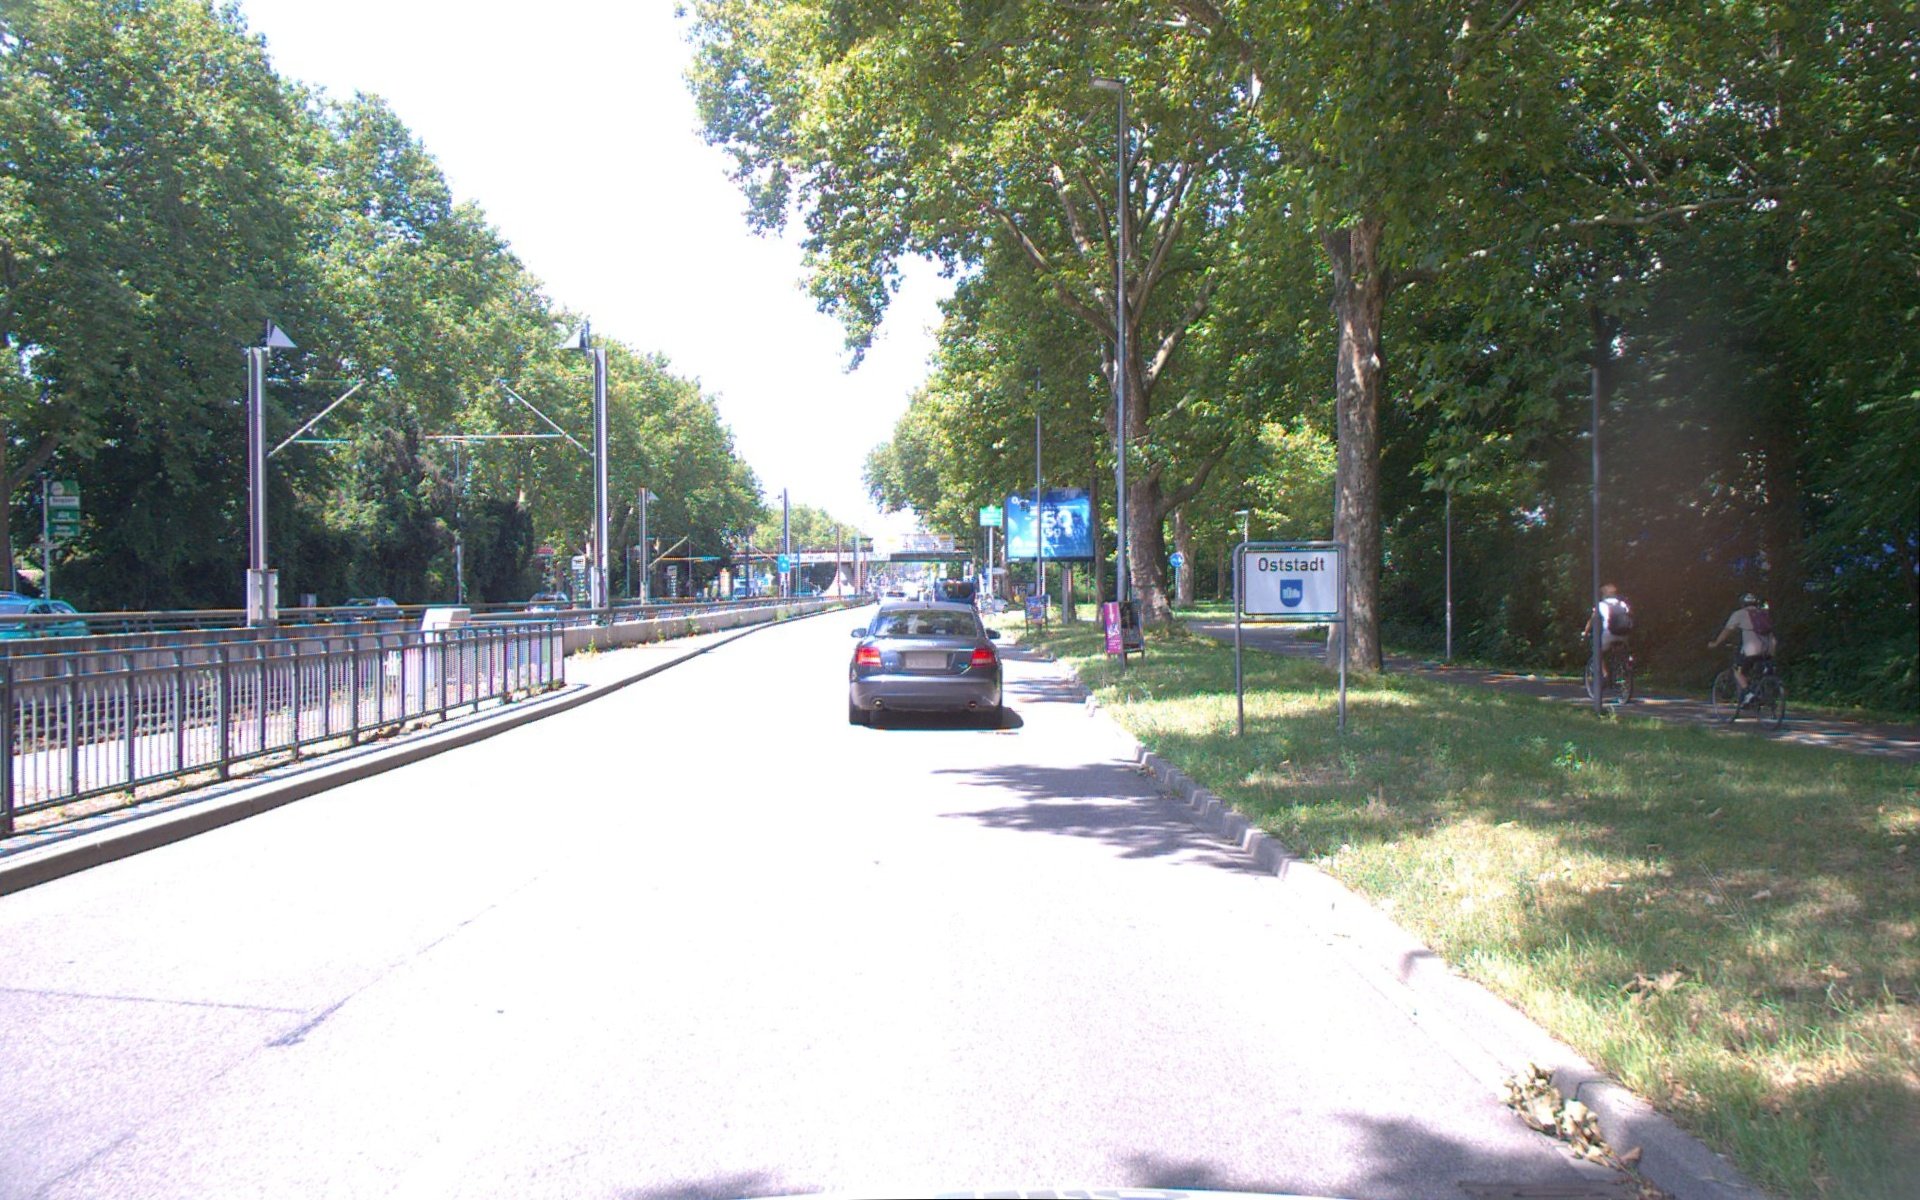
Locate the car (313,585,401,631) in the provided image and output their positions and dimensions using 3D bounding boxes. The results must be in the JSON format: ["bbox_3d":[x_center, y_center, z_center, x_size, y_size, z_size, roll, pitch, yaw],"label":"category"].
[{"bbox_3d":[-23.066,0.292,63.389,1.708,1.713,4.384,0,0,1],"label":"car"}]

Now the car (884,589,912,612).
[{"bbox_3d":[-4.111,0.046,108.893,1.809,1.489,3.998,0,0,-3],"label":"car"}]

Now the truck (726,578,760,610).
[{"bbox_3d":[-21.051,-0.578,160.515,2.932,3.073,7.991,0,0,-5],"label":"truck"}]

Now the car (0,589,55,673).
[{"bbox_3d":[-20.977,0.634,34.451,1.708,1.713,4.384,3,0,1],"label":"car"}]

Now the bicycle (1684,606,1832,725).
[{"bbox_3d":[10.446,0.814,21.770,0.598,1.444,2.661,-1,0,-1],"label":"bicycle"}]

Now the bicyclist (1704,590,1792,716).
[{"bbox_3d":[10.427,0.690,21.917,0.645,1.627,1.053,0,0,-1],"label":"bicyclist"}]

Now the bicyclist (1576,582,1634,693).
[{"bbox_3d":[10.443,0.597,26.793,0.585,1.776,0.843,0,0,-1],"label":"bicyclist"}]

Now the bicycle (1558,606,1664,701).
[{"bbox_3d":[10.566,0.833,26.954,0.598,1.444,2.661,-1,0,-1],"label":"bicycle"}]

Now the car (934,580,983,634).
[{"bbox_3d":[-0.018,0.263,63.973,1.810,1.994,4.145,1,0,1],"label":"car"}]

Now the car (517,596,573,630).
[{"bbox_3d":[-22.695,0.699,90.665,1.829,1.713,4.384,3,0,1],"label":"car"}]

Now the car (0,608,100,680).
[{"bbox_3d":[-18.254,0.804,31.576,1.611,1.287,3.837,0,0,1],"label":"car"}]

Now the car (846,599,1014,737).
[{"bbox_3d":[-0.459,0.751,20.186,1.806,1.510,3.996,0,0,-5],"label":"car"}]
